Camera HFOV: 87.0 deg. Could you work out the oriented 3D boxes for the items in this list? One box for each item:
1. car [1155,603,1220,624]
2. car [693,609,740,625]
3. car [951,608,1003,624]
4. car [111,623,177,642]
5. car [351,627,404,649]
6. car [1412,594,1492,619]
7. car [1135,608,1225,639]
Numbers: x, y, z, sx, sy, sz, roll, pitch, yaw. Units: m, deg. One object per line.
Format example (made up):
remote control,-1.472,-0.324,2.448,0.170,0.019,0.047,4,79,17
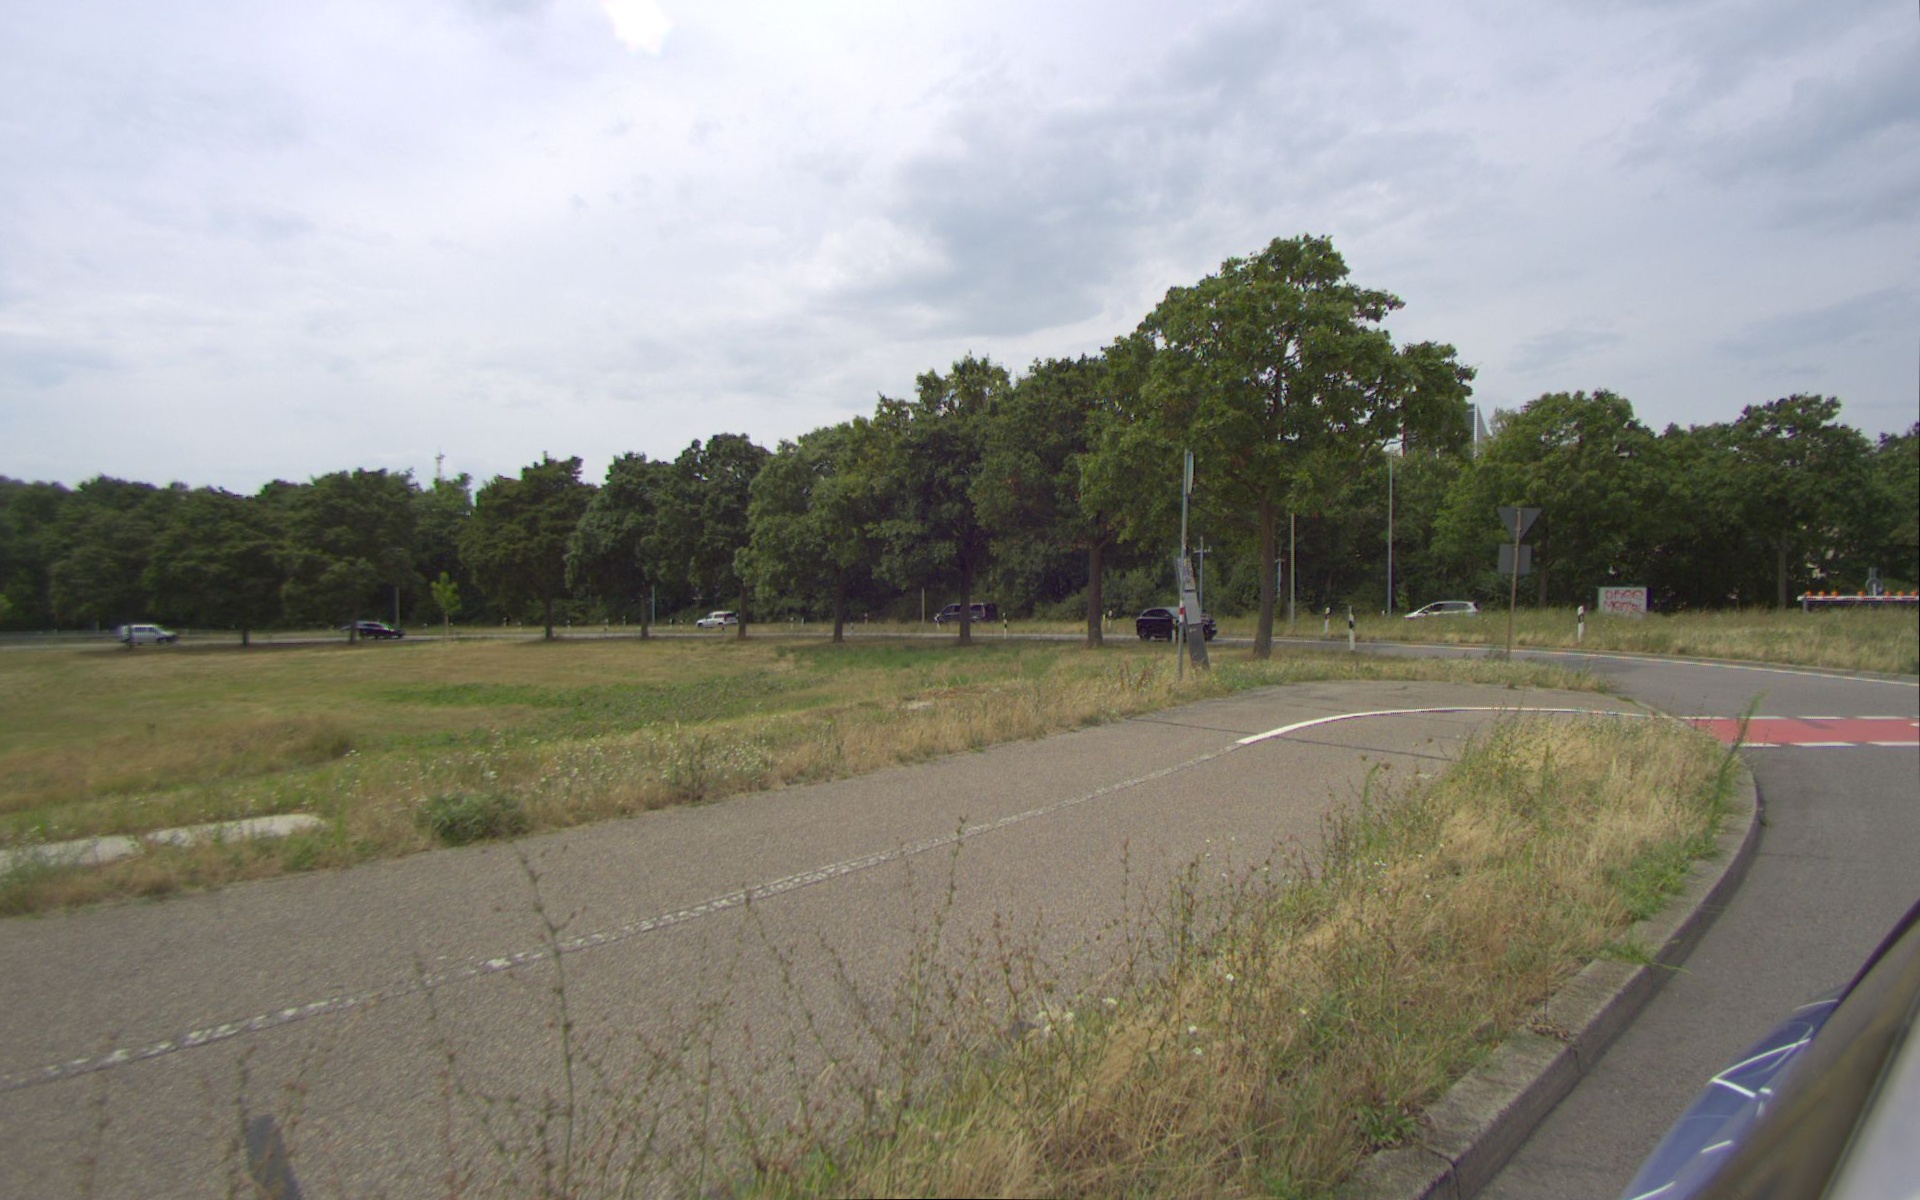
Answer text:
car,14.133,0.836,62.958,3.671,1.288,1.653,-1,-1,44
car,-22.596,1.595,93.939,3.959,1.416,1.983,0,0,26
car,1.222,1.214,74.925,3.669,1.145,1.654,-1,0,43
car,-81.959,3.268,101.652,4.802,1.825,2.003,0,0,-8
car,-57.093,3.695,99.257,4.404,2.039,1.992,0,0,14
car,26.287,0.320,54.094,3.656,1.144,1.660,3,1,32
car,10.037,1.044,46.461,1.766,1.299,4.248,-1,0,-26
